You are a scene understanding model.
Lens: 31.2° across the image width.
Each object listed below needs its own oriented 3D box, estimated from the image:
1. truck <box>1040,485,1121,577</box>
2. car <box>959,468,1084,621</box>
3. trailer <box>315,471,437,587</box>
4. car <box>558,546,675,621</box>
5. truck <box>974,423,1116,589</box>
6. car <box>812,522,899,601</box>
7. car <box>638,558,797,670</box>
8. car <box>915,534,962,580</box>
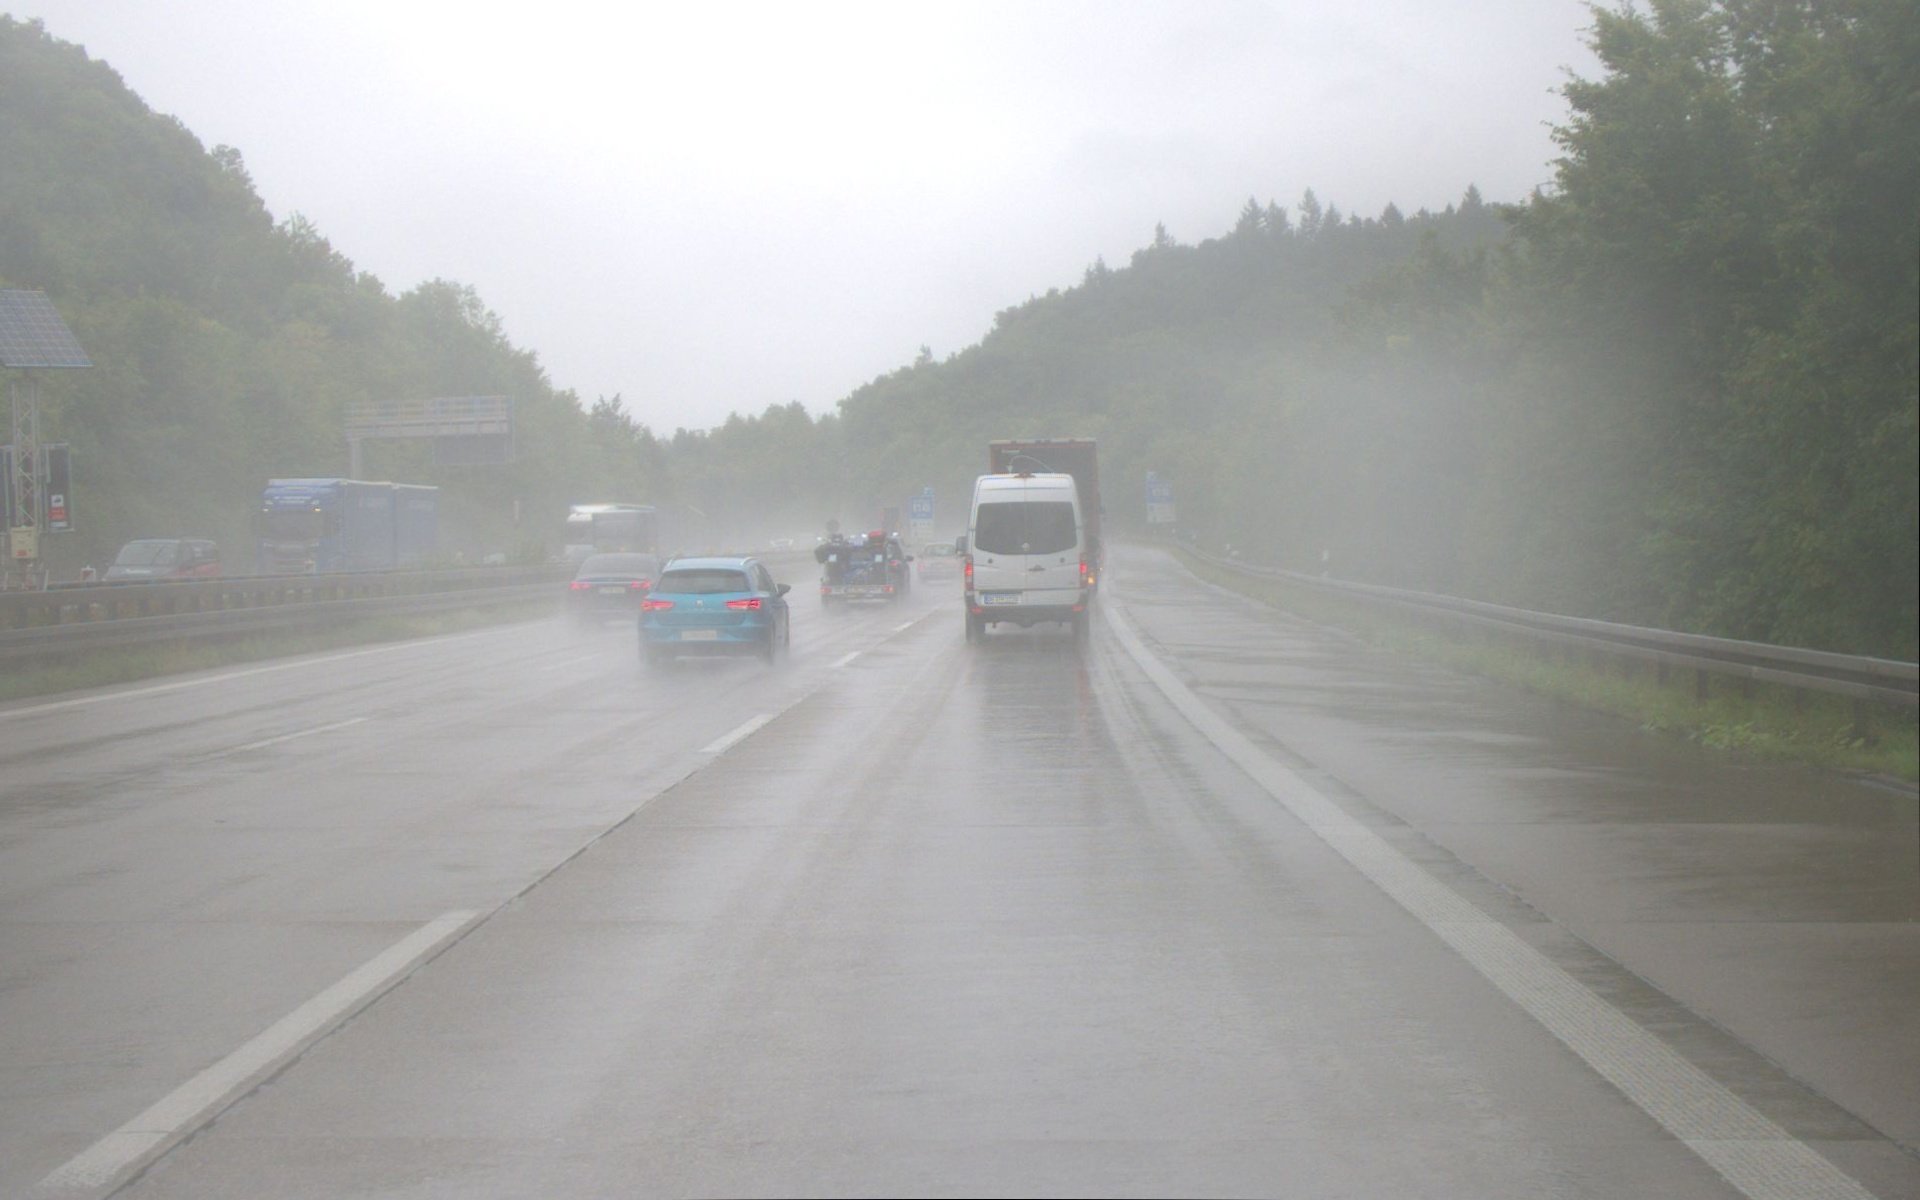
[{"bbox_3d":[5.422,-3.018,153.267,3.091,3.896,9.052,1,1,5],"label":"truck"},{"bbox_3d":[0.988,-0.912,55.952,1.899,2.326,5.251,1,1,1],"label":"car"},{"bbox_3d":[-21.622,-2.631,127.774,2.848,4.140,8.525,1,1,1],"label":"trailer"},{"bbox_3d":[-6.586,-0.338,66.223,1.856,1.334,4.351,1,1,-1],"label":"car"},{"bbox_3d":[2.176,-2.478,87.148,3.385,3.954,8.667,-1,3,2],"label":"truck"},{"bbox_3d":[-2.483,-0.935,82.369,1.868,1.804,4.189,1,1,1],"label":"car"},{"bbox_3d":[-3.148,0.153,45.389,1.856,1.334,4.352,1,1,-1],"label":"car"},{"bbox_3d":[-0.781,-1.574,126.078,1.614,1.622,4.189,1,1,1],"label":"car"}]
